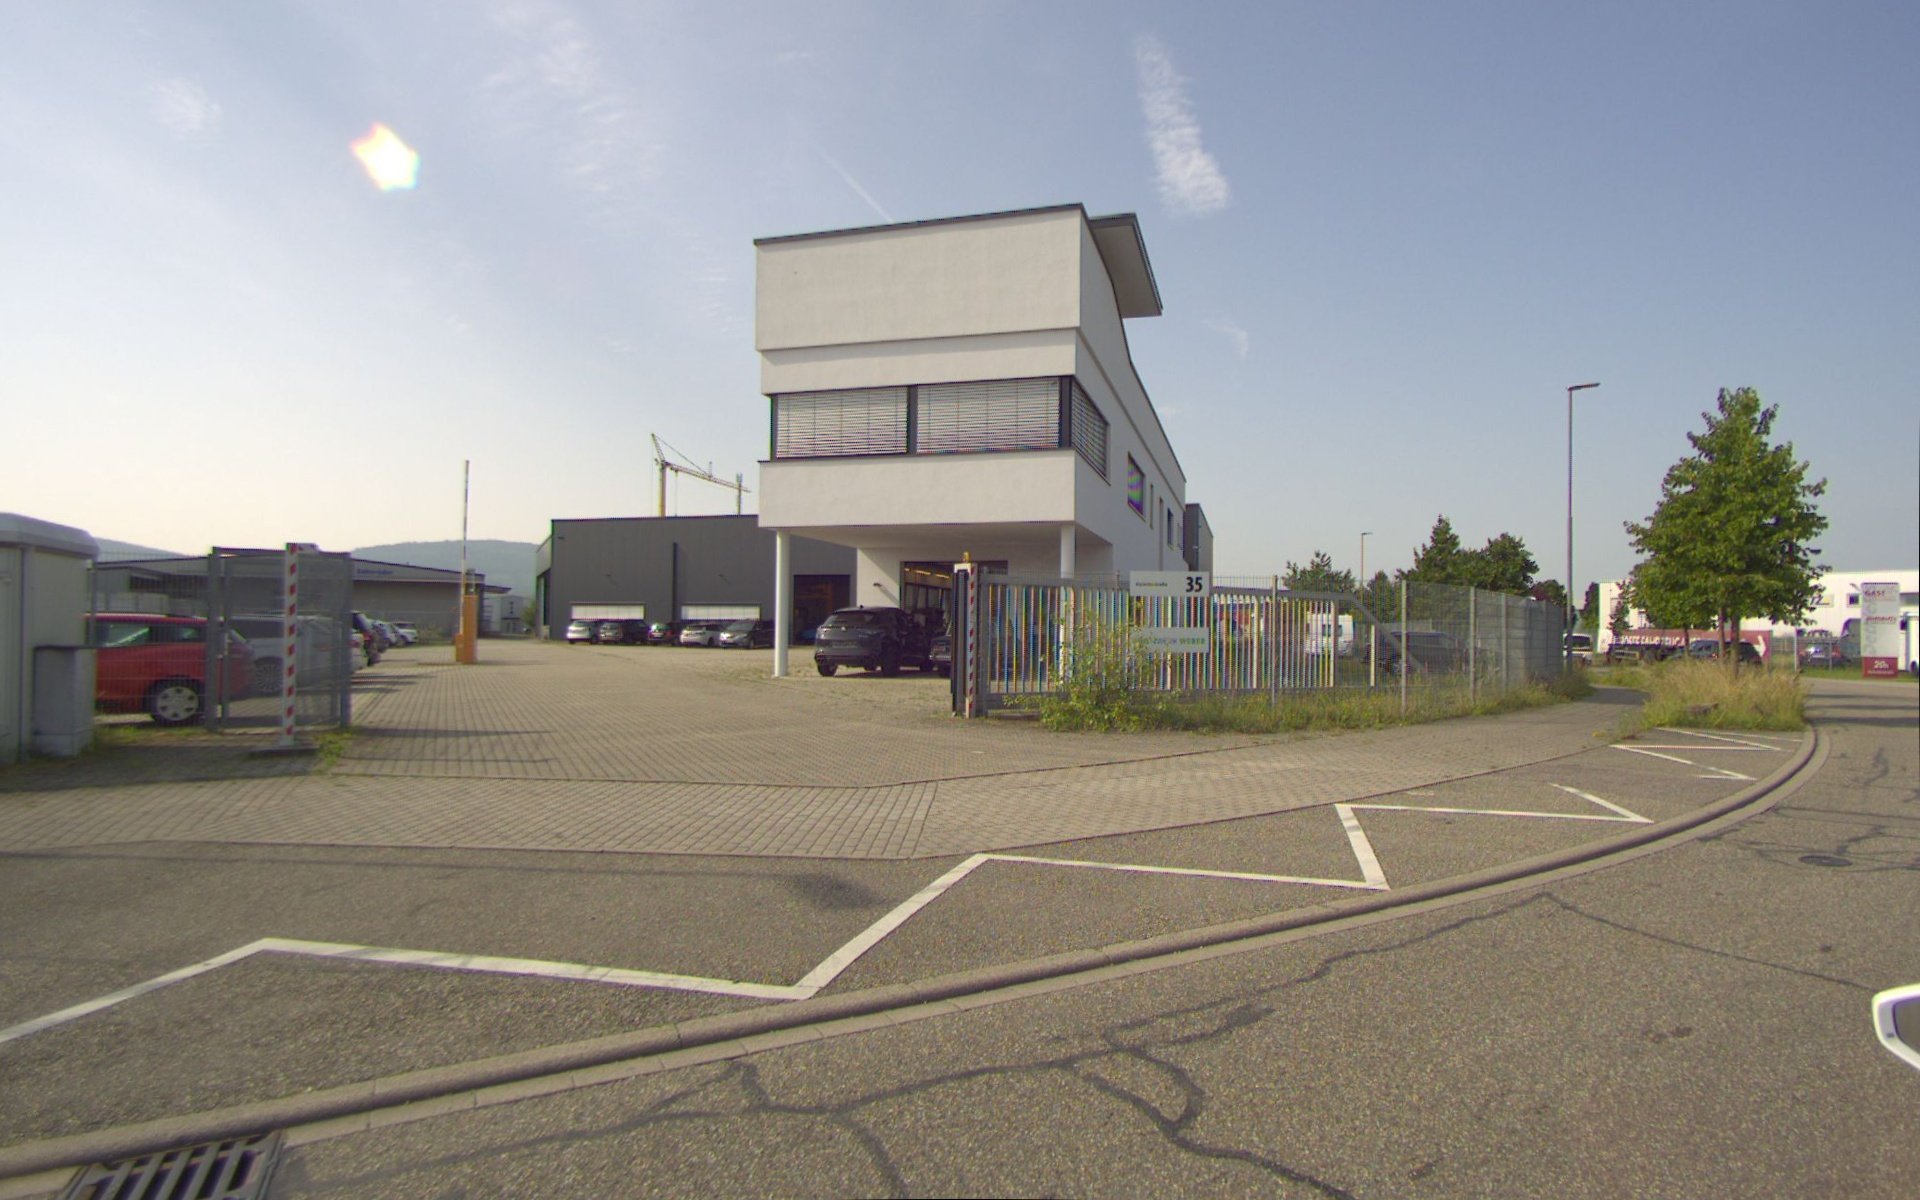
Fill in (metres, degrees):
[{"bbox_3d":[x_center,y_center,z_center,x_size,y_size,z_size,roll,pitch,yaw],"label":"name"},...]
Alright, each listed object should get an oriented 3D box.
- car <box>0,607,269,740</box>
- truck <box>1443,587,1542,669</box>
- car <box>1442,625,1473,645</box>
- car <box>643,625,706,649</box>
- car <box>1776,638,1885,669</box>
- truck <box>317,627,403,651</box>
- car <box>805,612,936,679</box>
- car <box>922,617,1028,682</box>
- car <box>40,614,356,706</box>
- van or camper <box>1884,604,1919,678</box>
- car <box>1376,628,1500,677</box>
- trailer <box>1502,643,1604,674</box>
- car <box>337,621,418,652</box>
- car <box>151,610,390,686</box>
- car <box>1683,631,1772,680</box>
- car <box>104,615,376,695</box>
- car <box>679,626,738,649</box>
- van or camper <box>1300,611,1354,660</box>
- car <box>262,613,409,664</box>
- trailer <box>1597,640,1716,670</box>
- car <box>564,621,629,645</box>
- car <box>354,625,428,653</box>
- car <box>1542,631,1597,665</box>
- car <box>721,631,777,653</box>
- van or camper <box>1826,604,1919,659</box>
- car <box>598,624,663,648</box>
[{"bbox_3d":[-11.385,0.882,12.745,4.258,1.545,1.760,0,-1,-34],"label":"car"},{"bbox_3d":[28.909,1.560,55.142,2.582,3.980,12.923,1,-2,18],"label":"truck"},{"bbox_3d":[47.028,3.334,94.978,1.960,1.795,4.002,0,-2,16],"label":"car"},{"bbox_3d":[-17.879,2.300,63.039,1.635,1.461,3.949,0,-2,25],"label":"car"},{"bbox_3d":[43.011,2.624,49.647,3.931,1.496,2.168,1,-2,-13],"label":"car"},{"bbox_3d":[-33.958,2.203,56.962,3.945,1.327,1.861,1,-2,-24],"label":"truck"},{"bbox_3d":[-2.103,1.080,24.757,1.832,1.507,4.002,0,-2,17],"label":"car"},{"bbox_3d":[0.457,1.159,24.353,1.532,1.434,3.923,0,-2,17],"label":"car"},{"bbox_3d":[-13.834,1.028,18.626,4.423,1.514,1.825,0,-1,-29],"label":"car"},{"bbox_3d":[39.670,1.645,39.865,2.294,2.982,6.966,0,-1,24],"label":"van or camper"},{"bbox_3d":[15.684,1.696,33.089,3.433,1.473,1.598,1,-1,15],"label":"car"},{"bbox_3d":[25.413,2.482,43.318,2.530,1.114,5.204,0,-2,16],"label":"trailer"},{"bbox_3d":[-34.547,2.180,59.737,3.945,1.792,1.861,1,-2,-24],"label":"car"},{"bbox_3d":[-15.967,1.069,23.595,4.423,1.625,1.927,0,-1,-29],"label":"car"},{"bbox_3d":[30.856,2.207,40.515,1.962,1.828,3.998,0,-2,24],"label":"car"},{"bbox_3d":[-14.896,1.089,21.143,4.423,1.514,1.927,0,-1,-29],"label":"car"},{"bbox_3d":[-15.464,2.312,61.992,1.634,1.331,3.819,0,-2,21],"label":"car"},{"bbox_3d":[20.387,1.982,56.035,2.266,2.594,4.957,0,-2,14],"label":"van or camper"},{"bbox_3d":[-22.670,1.387,36.620,4.405,1.750,1.973,1,-2,-32],"label":"car"},{"bbox_3d":[38.407,2.989,55.816,2.579,1.406,9.459,-2,-2,16],"label":"trailer"},{"bbox_3d":[-23.488,2.124,65.078,1.635,1.461,3.949,0,-2,25],"label":"car"},{"bbox_3d":[-36.855,2.539,65.183,3.945,1.792,1.861,1,-2,-24],"label":"car"},{"bbox_3d":[36.463,2.844,60.195,1.961,1.924,4.468,0,-2,19],"label":"car"},{"bbox_3d":[-12.656,2.491,60.450,1.633,1.237,3.820,0,-2,18],"label":"car"},{"bbox_3d":[54.681,1.867,59.594,6.705,3.125,2.653,1,-1,-26],"label":"van or camper"},{"bbox_3d":[-20.915,2.251,63.866,1.635,1.461,3.949,0,-2,25],"label":"car"}]
